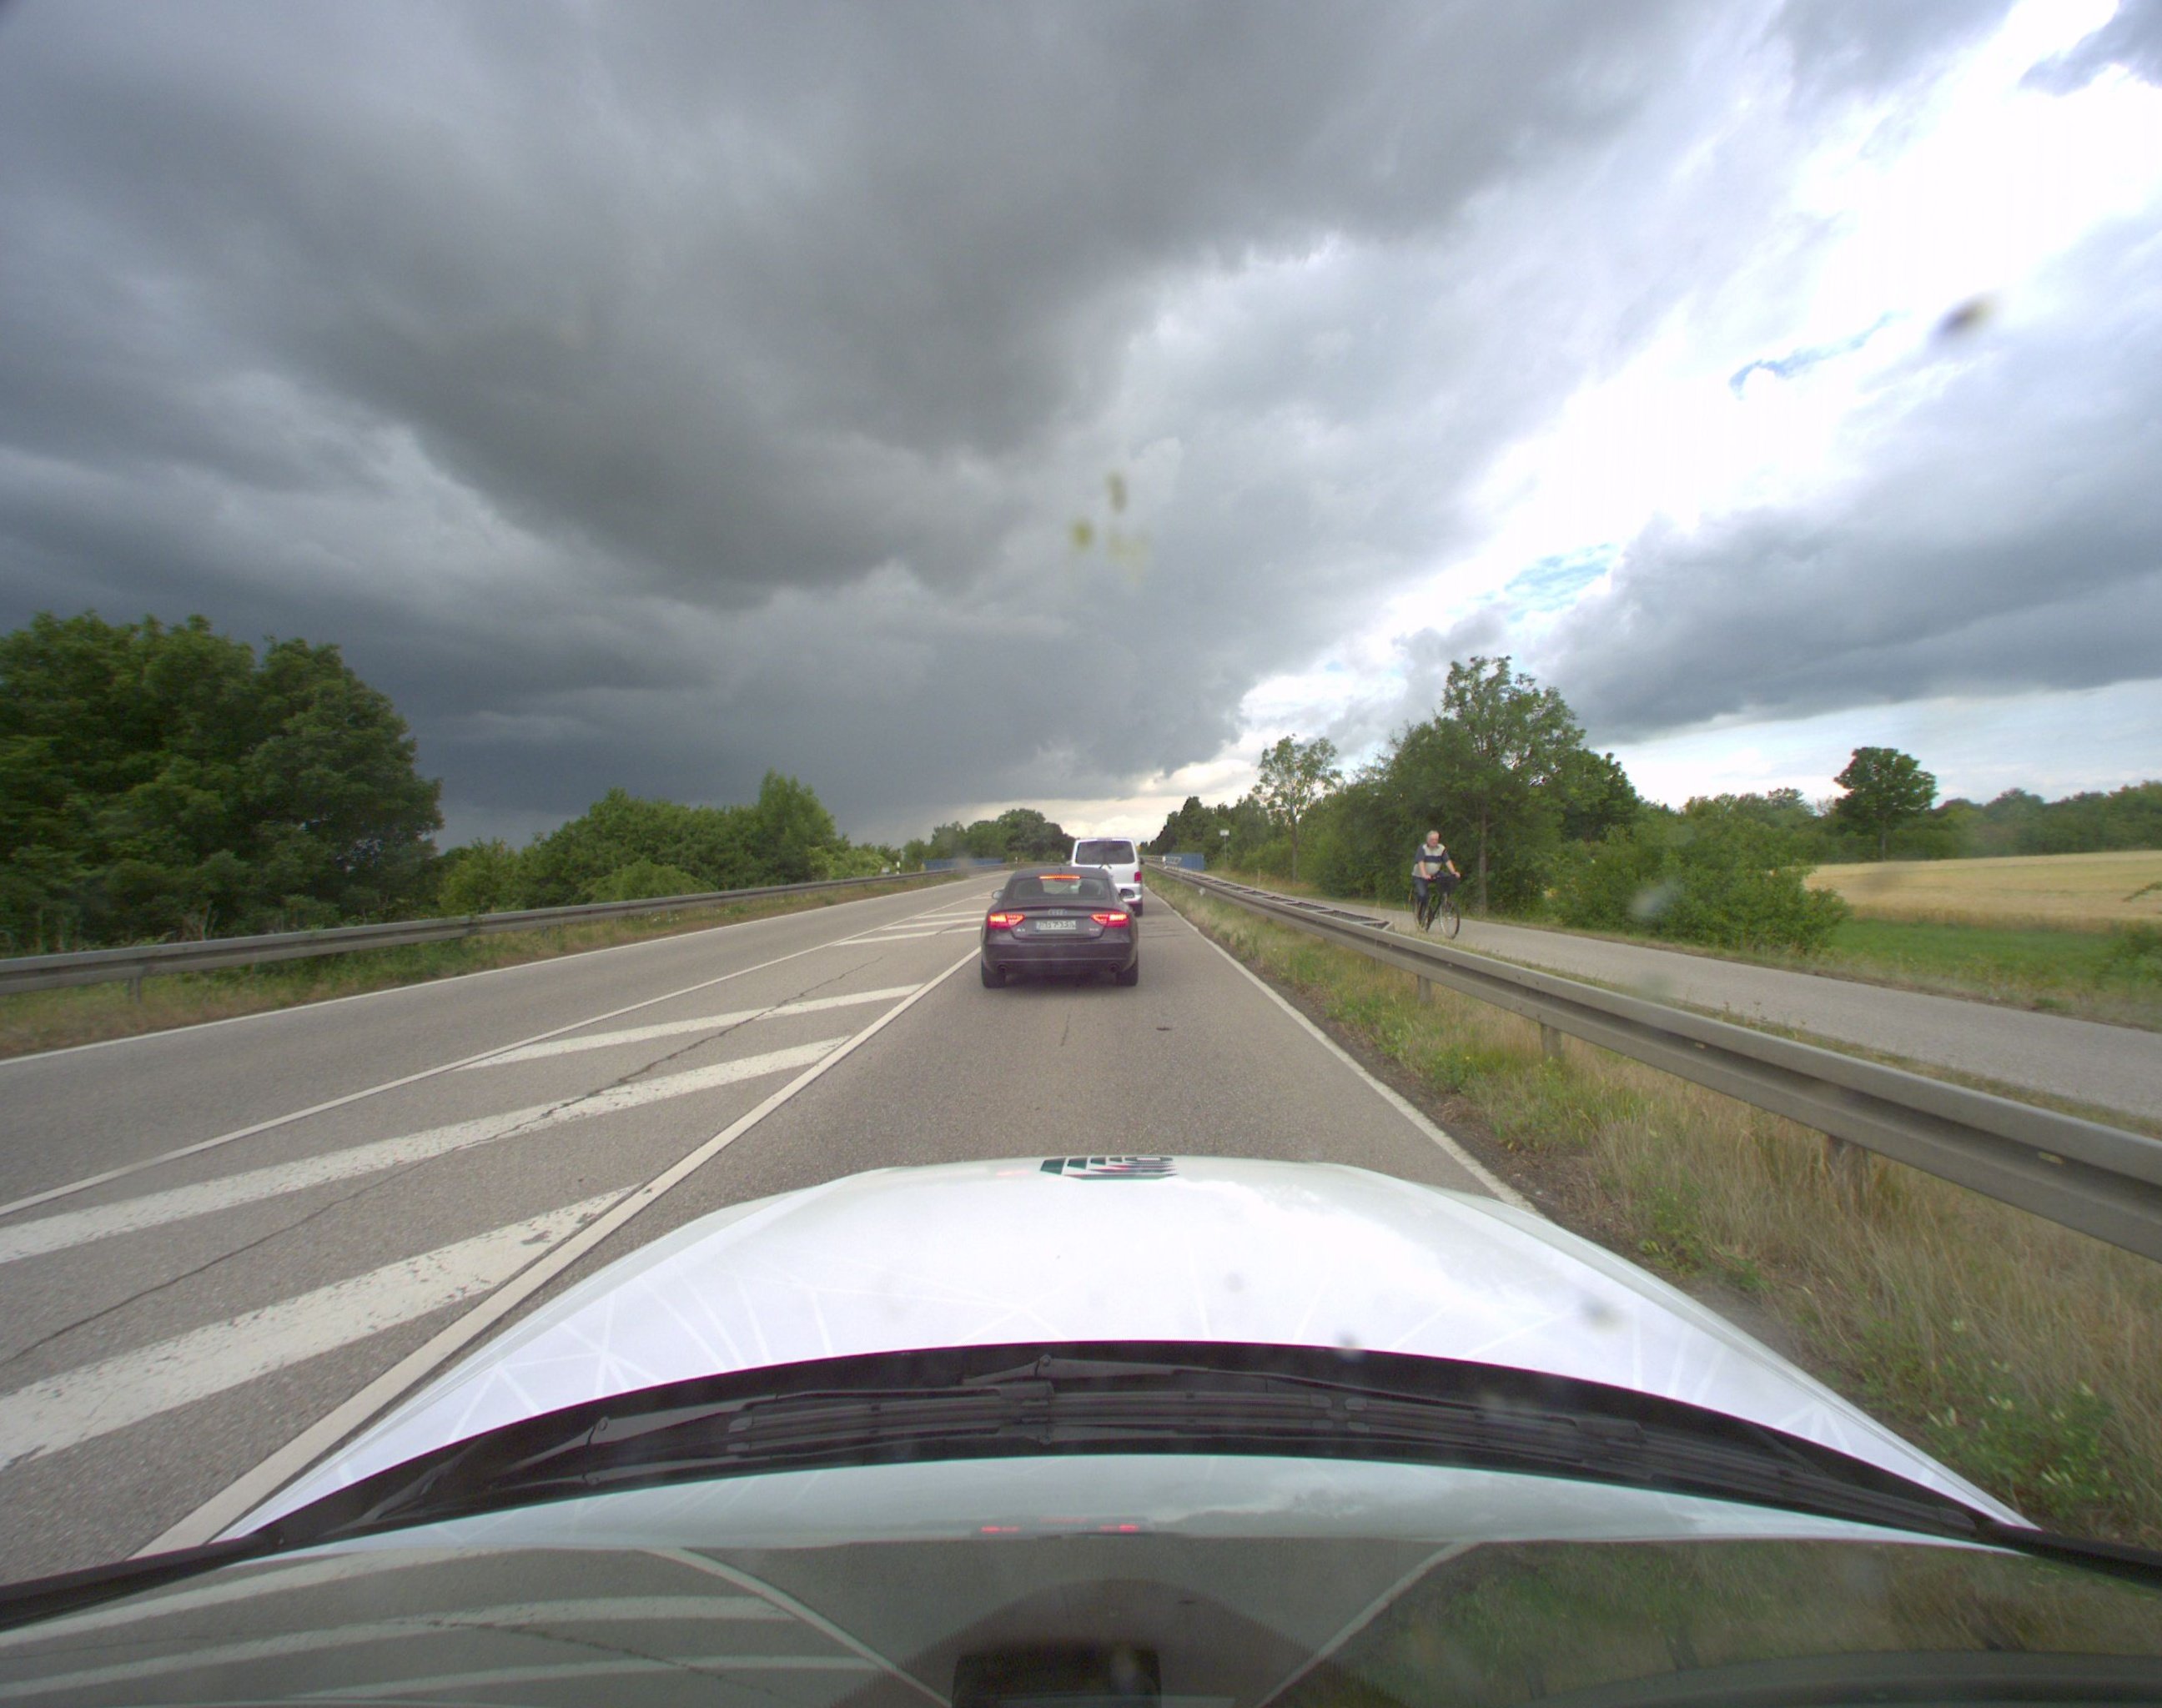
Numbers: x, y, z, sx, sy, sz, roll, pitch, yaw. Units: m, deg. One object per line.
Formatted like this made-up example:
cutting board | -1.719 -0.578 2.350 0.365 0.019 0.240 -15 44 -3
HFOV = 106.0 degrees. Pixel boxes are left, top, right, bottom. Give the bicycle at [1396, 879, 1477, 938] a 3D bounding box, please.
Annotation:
bicycle | 6.244 0.935 14.403 0.663 0.920 1.831 -2 0 2

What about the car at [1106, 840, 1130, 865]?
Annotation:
car | 3.913 -0.156 86.516 2.438 2.504 5.044 -1 0 2

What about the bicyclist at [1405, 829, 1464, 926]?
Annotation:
bicyclist | 6.227 0.411 14.379 0.644 1.645 0.866 -2 -1 1

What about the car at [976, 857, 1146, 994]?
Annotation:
car | -0.152 0.775 10.587 1.779 1.424 4.001 -1 -1 2

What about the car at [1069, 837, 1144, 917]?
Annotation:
car | 0.680 0.569 21.533 1.779 1.890 4.001 -1 -1 2
